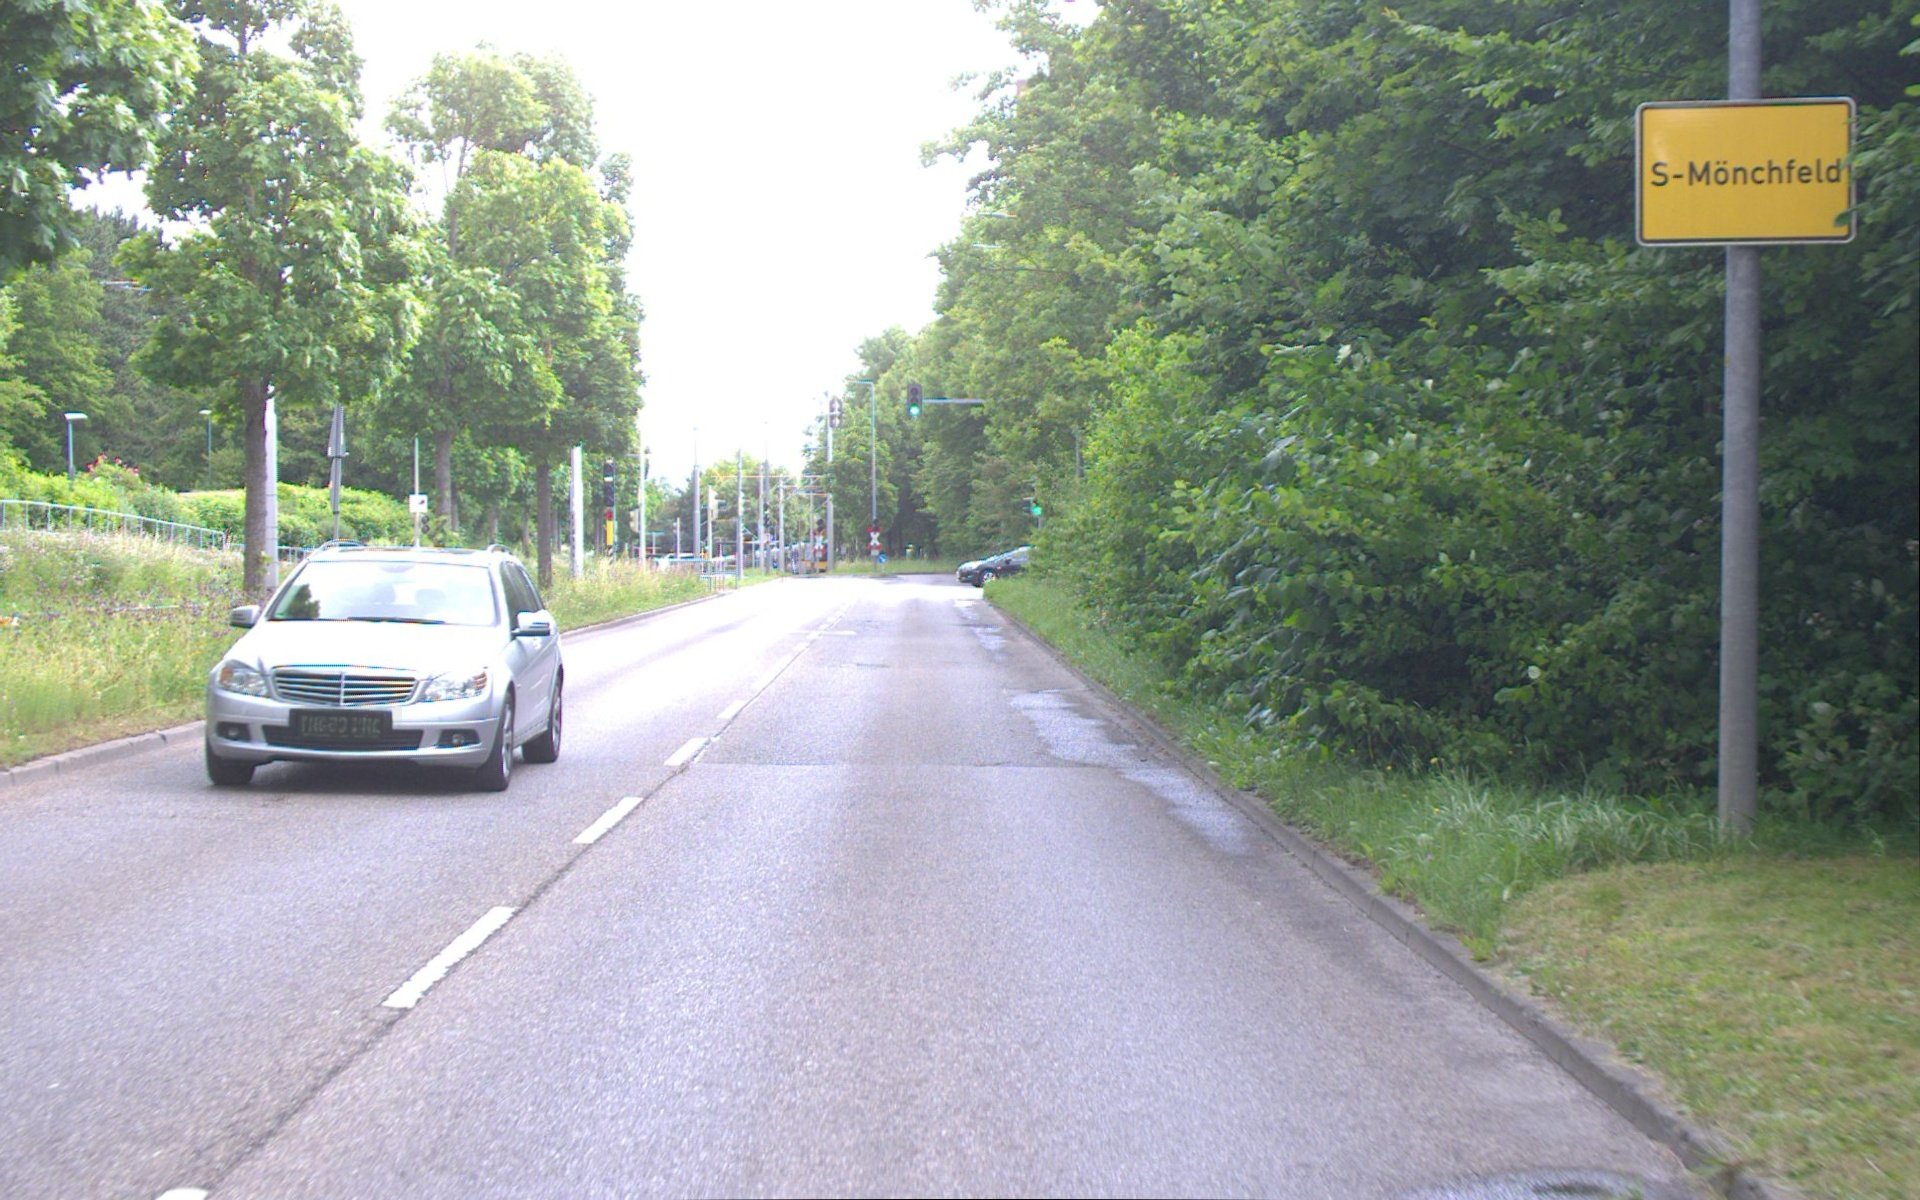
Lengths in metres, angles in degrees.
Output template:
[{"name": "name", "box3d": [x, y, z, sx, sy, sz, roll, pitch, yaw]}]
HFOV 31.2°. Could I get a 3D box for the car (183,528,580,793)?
[{"name": "car", "box3d": [-3.511, 0.301, 21.583, 1.774, 1.464, 4.242, 1, 1, 0]}]
